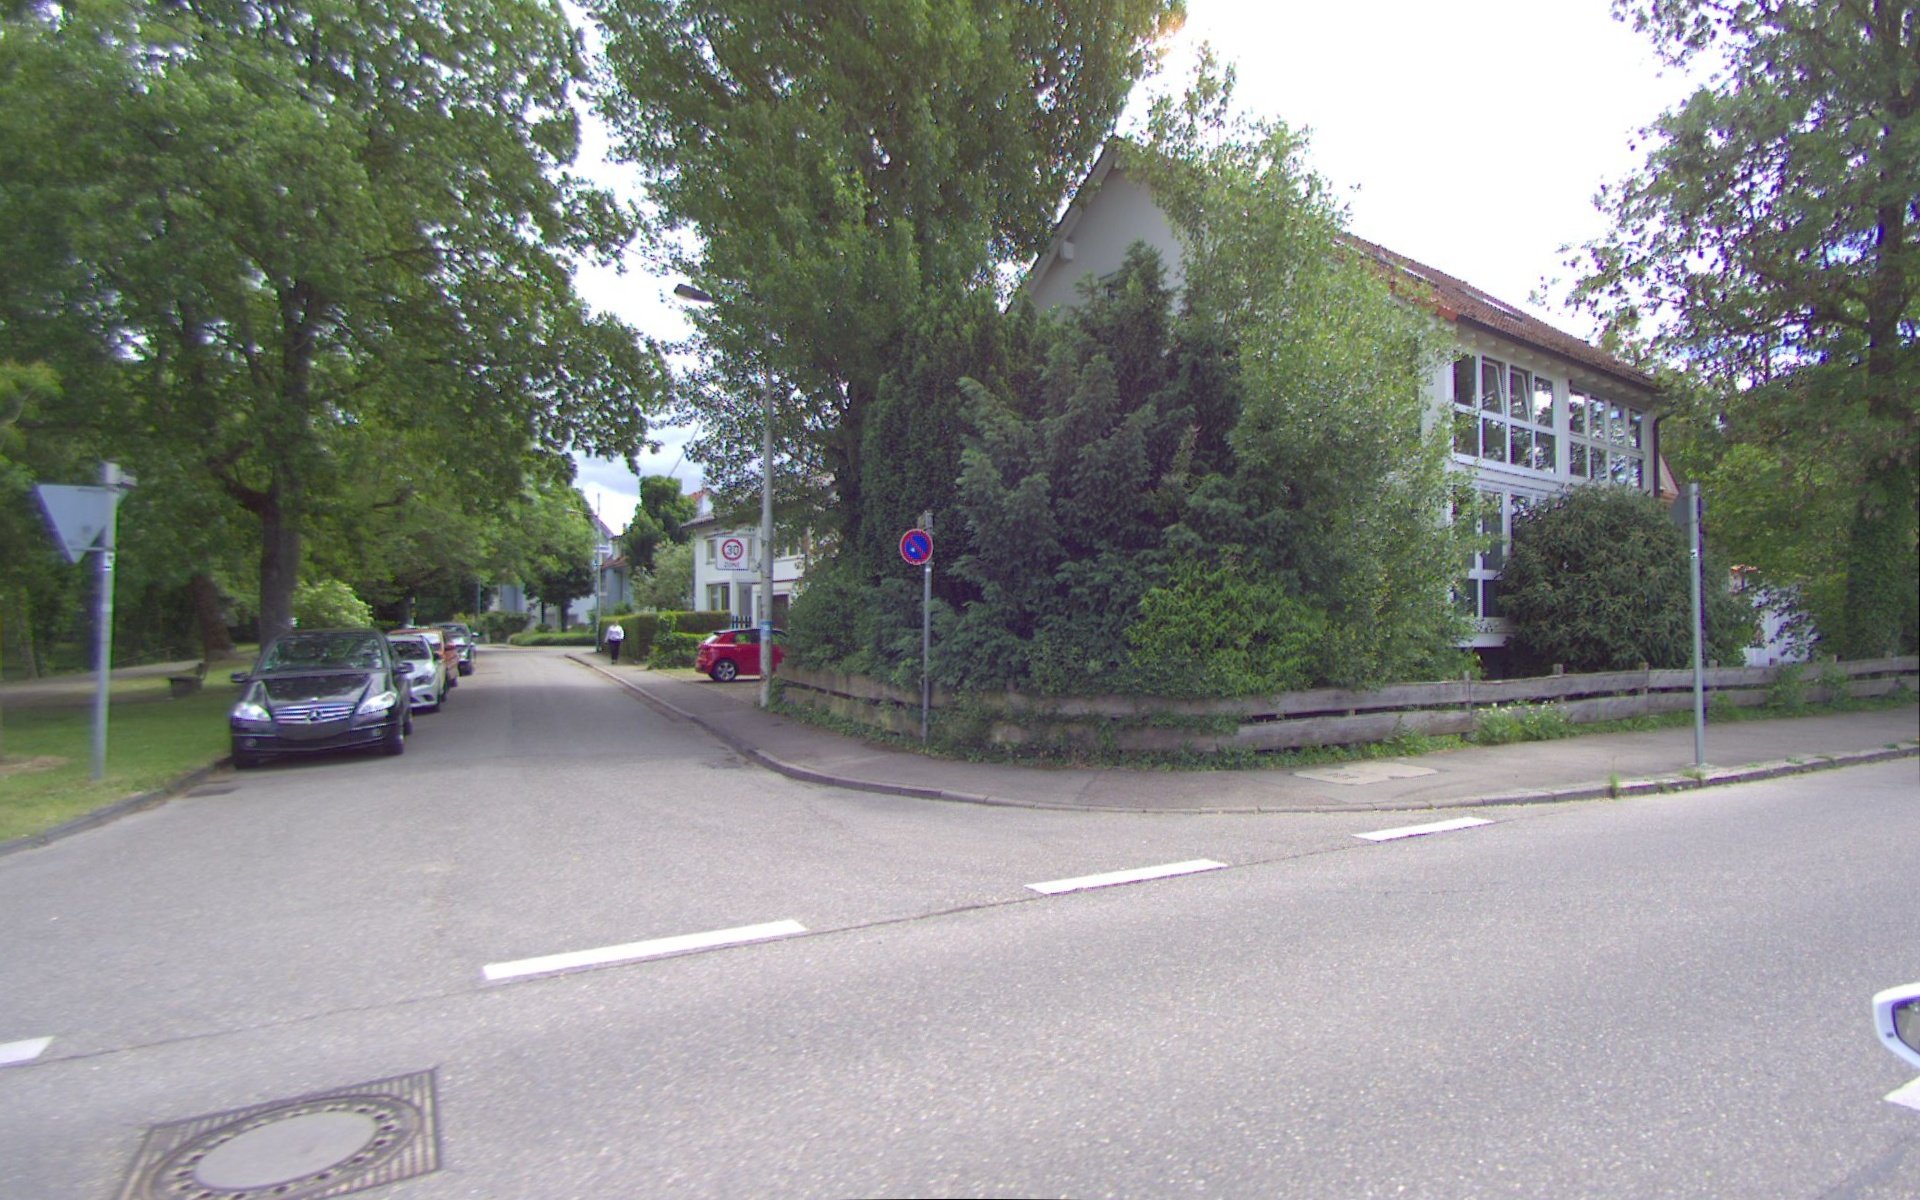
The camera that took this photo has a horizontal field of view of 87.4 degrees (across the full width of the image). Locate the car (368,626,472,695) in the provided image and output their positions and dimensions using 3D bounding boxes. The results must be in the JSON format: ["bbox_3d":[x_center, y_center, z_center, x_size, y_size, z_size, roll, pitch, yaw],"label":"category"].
[{"bbox_3d":[-13.119,1.407,24.597,1.929,1.499,3.976,1,-1,-24],"label":"car"}]

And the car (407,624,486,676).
[{"bbox_3d":[-16.428,1.558,32.287,1.928,1.499,3.978,1,-1,-23],"label":"car"}]

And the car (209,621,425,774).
[{"bbox_3d":[-8.406,1.141,13.514,1.942,1.643,3.974,-2,0,-26],"label":"car"}]

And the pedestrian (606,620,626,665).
[{"bbox_3d":[-13.309,1.640,38.848,0.678,1.694,0.608,1,0,-18],"label":"pedestrian"}]

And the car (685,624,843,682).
[{"bbox_3d":[-5.342,1.409,27.347,3.942,1.406,1.833,-1,-2,-22],"label":"car"}]

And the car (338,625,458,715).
[{"bbox_3d":[-10.755,1.252,19.346,1.818,1.537,3.970,1,-2,-29],"label":"car"}]

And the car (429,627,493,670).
[{"bbox_3d":[-19.096,1.800,38.567,1.928,1.499,3.978,1,-1,-23],"label":"car"}]
